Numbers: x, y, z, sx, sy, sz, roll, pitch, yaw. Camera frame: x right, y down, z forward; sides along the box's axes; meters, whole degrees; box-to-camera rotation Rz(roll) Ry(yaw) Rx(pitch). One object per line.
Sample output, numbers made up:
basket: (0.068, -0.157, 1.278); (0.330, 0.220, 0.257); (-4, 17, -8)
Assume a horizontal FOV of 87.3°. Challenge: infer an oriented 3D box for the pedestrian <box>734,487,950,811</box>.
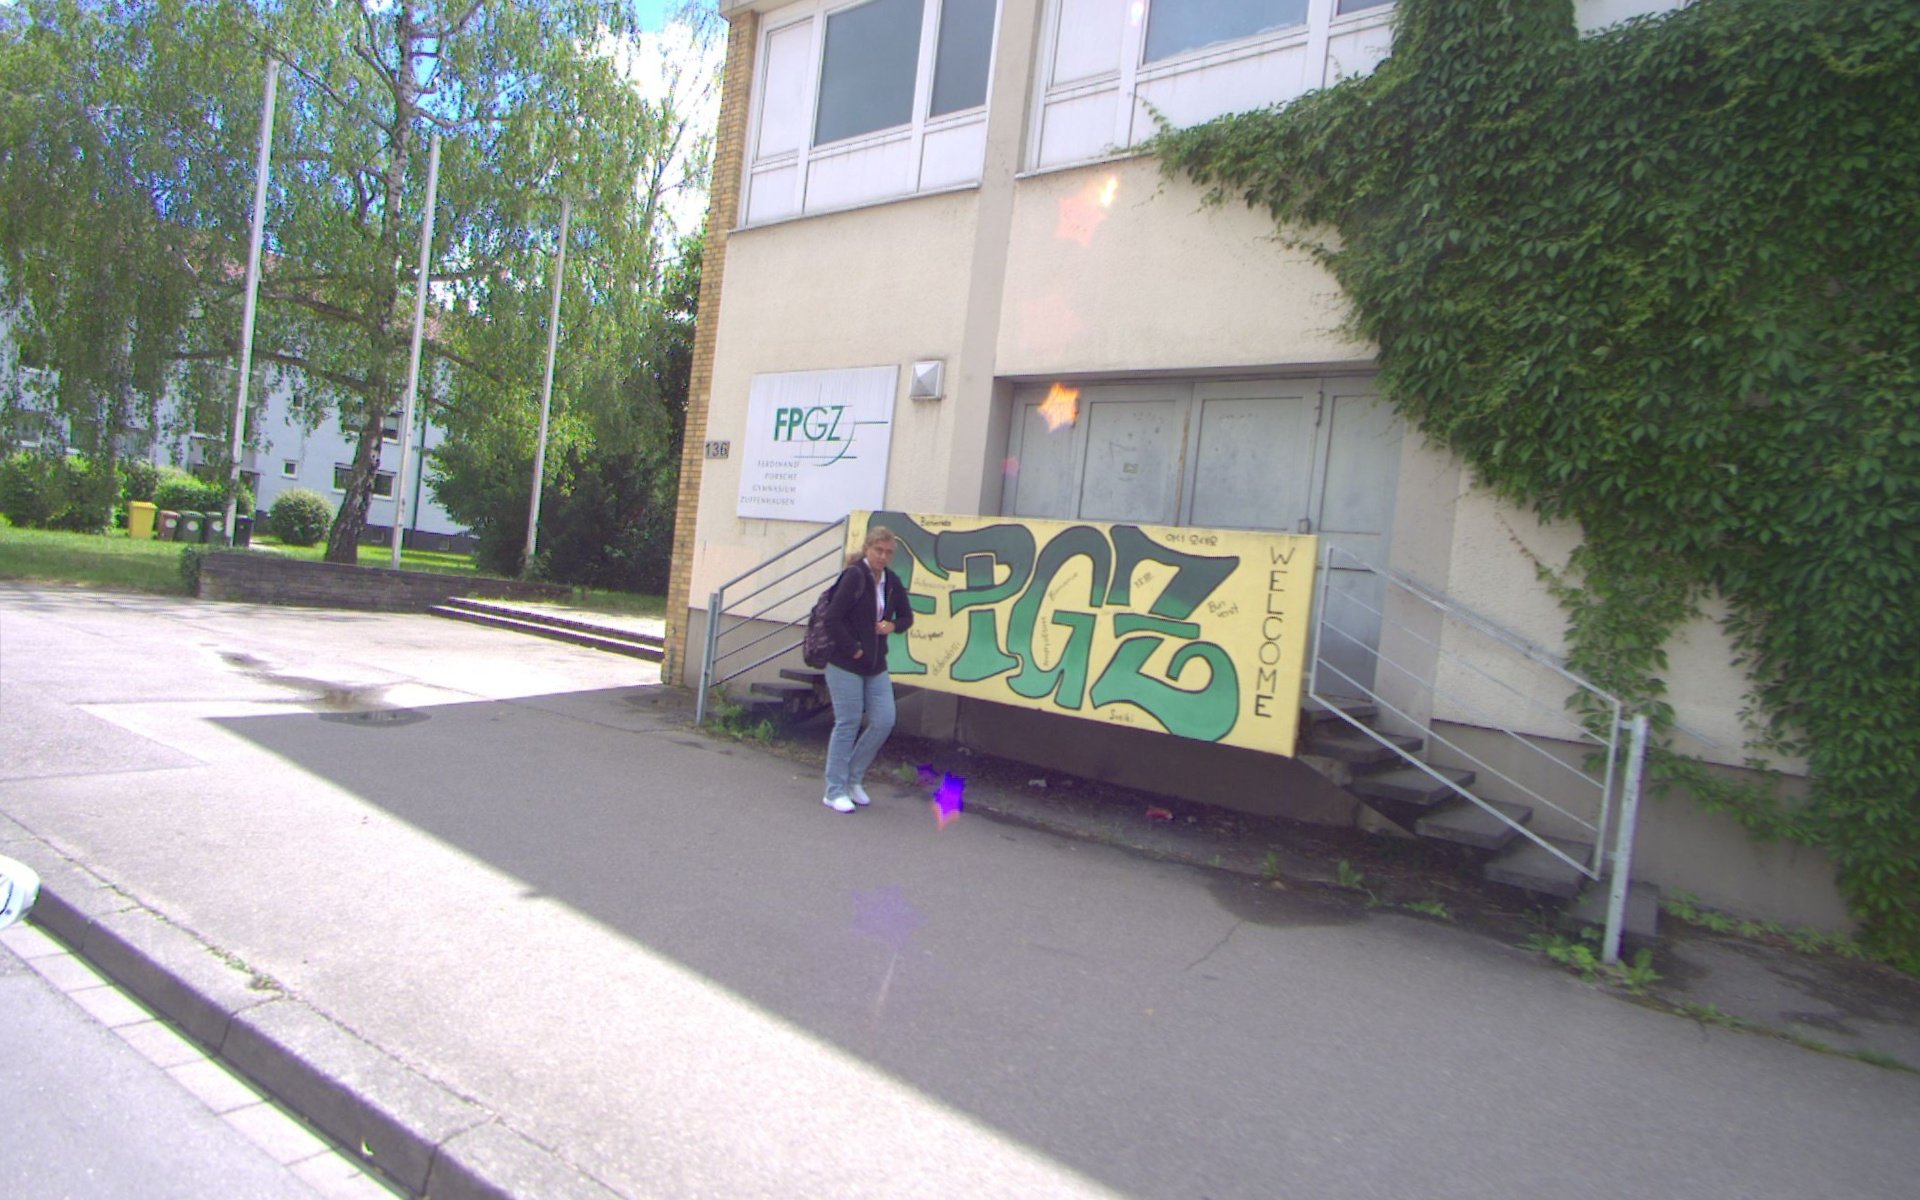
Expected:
pedestrian: (-0.717, 0.273, 6.117); (0.805, 1.794, 0.808); (7, 2, 41)
